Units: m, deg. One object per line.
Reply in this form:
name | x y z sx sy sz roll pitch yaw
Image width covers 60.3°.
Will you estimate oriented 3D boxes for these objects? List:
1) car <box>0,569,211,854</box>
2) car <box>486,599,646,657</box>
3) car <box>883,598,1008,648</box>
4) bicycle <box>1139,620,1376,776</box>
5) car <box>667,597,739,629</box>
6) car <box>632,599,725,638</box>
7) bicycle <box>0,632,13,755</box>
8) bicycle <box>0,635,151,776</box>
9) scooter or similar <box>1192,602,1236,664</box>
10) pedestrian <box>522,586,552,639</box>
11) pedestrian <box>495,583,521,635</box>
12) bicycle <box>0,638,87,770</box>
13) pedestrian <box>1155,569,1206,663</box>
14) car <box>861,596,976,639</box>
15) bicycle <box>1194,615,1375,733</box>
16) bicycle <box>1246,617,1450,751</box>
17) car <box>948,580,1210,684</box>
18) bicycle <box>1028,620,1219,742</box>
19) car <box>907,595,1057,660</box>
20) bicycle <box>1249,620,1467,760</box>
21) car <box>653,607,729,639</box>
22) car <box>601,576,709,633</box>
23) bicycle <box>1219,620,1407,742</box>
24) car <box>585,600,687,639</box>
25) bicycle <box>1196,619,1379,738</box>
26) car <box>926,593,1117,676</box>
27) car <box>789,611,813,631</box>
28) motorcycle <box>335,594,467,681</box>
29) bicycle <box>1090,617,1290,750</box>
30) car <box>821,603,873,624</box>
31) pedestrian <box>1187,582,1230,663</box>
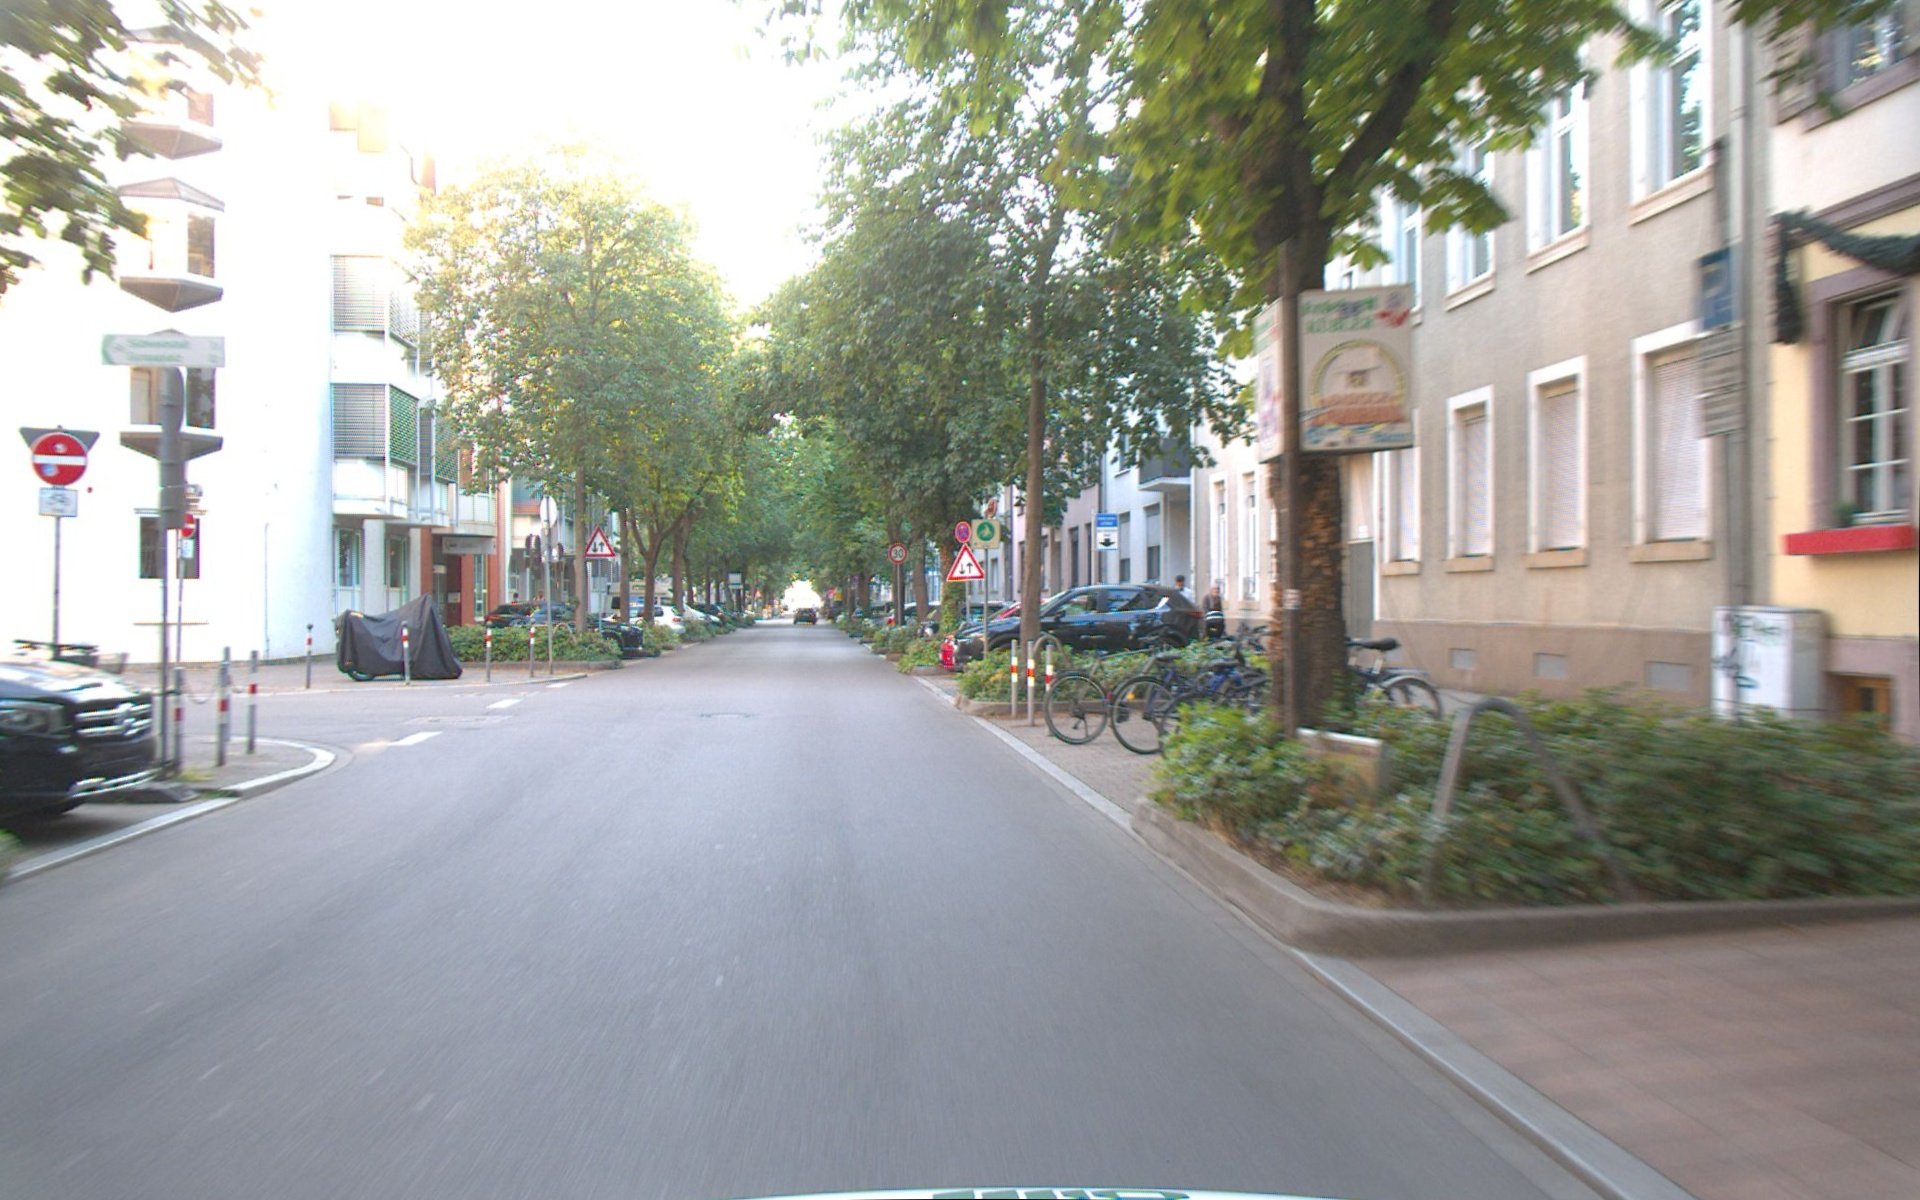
car | -7.429 0.612 10.627 4.339 1.680 1.871 2 0 -5
car | -10.773 0.766 45.445 4.048 1.512 1.926 1 0 -7
car | -0.503 0.717 53.406 3.805 1.465 1.844 -2 0 -9
bicycle | 2.453 0.794 13.726 1.795 1.199 0.672 -1 0 -7
car | -17.637 0.910 113.590 4.670 2.019 1.960 -2 0 -6
car | -14.765 0.983 86.903 4.592 1.886 1.960 -2 0 -6
bicycle | -8.673 0.781 13.705 0.655 1.081 1.859 3 -2 -5
bicycle | -7.377 0.848 13.792 0.512 1.077 1.858 3 -2 -8
scooter or similar | 4.894 0.631 31.904 0.642 1.173 0.830 -1 0 -5
pedestrian | -14.291 0.414 55.897 0.688 1.788 0.740 0 -1 18
pedestrian | -15.423 0.294 56.430 0.689 1.758 0.904 0 -1 -6
bicycle | -7.955 0.840 13.736 0.512 1.037 1.859 3 -2 -5
pedestrian | 4.205 0.303 31.532 0.684 1.767 0.665 -1 0 -37
car | -1.709 0.702 67.253 4.624 1.740 1.948 0 0 -4
bicycle | 3.457 0.765 17.629 1.764 1.163 0.666 -1 0 -15
bicycle | 3.649 0.771 15.585 1.764 1.163 0.649 -1 0 -15
car | 2.025 0.529 28.929 4.339 1.685 1.898 -1 0 -4
bicycle | 1.685 0.819 17.131 1.807 1.155 0.741 -1 0 -16
car | 0.507 0.649 40.692 3.418 1.478 1.896 -2 0 -8
bicycle | 3.542 0.783 14.752 1.762 1.148 0.662 -1 0 -12
car | -15.372 1.318 94.592 4.122 1.664 1.960 -2 0 -6
car | -13.705 0.229 74.524 4.592 2.521 1.997 0 -1 -6
bicycle | 3.501 0.787 16.424 1.762 1.127 0.499 -1 0 -11
car | -12.942 0.771 66.238 3.794 1.512 1.755 1 0 -4
bicycle | 3.351 0.789 16.930 1.762 1.127 0.499 -1 0 -11
car | 1.157 0.643 32.148 3.418 1.478 1.896 -2 0 -8
car | -13.108 1.707 136.449 1.919 1.593 4.277 -2 0 -5
motorcycle | -10.038 0.655 29.714 2.180 1.507 0.853 0 1 -24
bicycle | 2.204 0.787 15.913 1.795 1.199 0.600 -1 0 -7
car | -9.458 1.155 138.189 4.186 1.593 1.960 -2 0 -6
pedestrian | 4.854 0.435 32.323 0.642 1.563 0.830 -1 0 -5
